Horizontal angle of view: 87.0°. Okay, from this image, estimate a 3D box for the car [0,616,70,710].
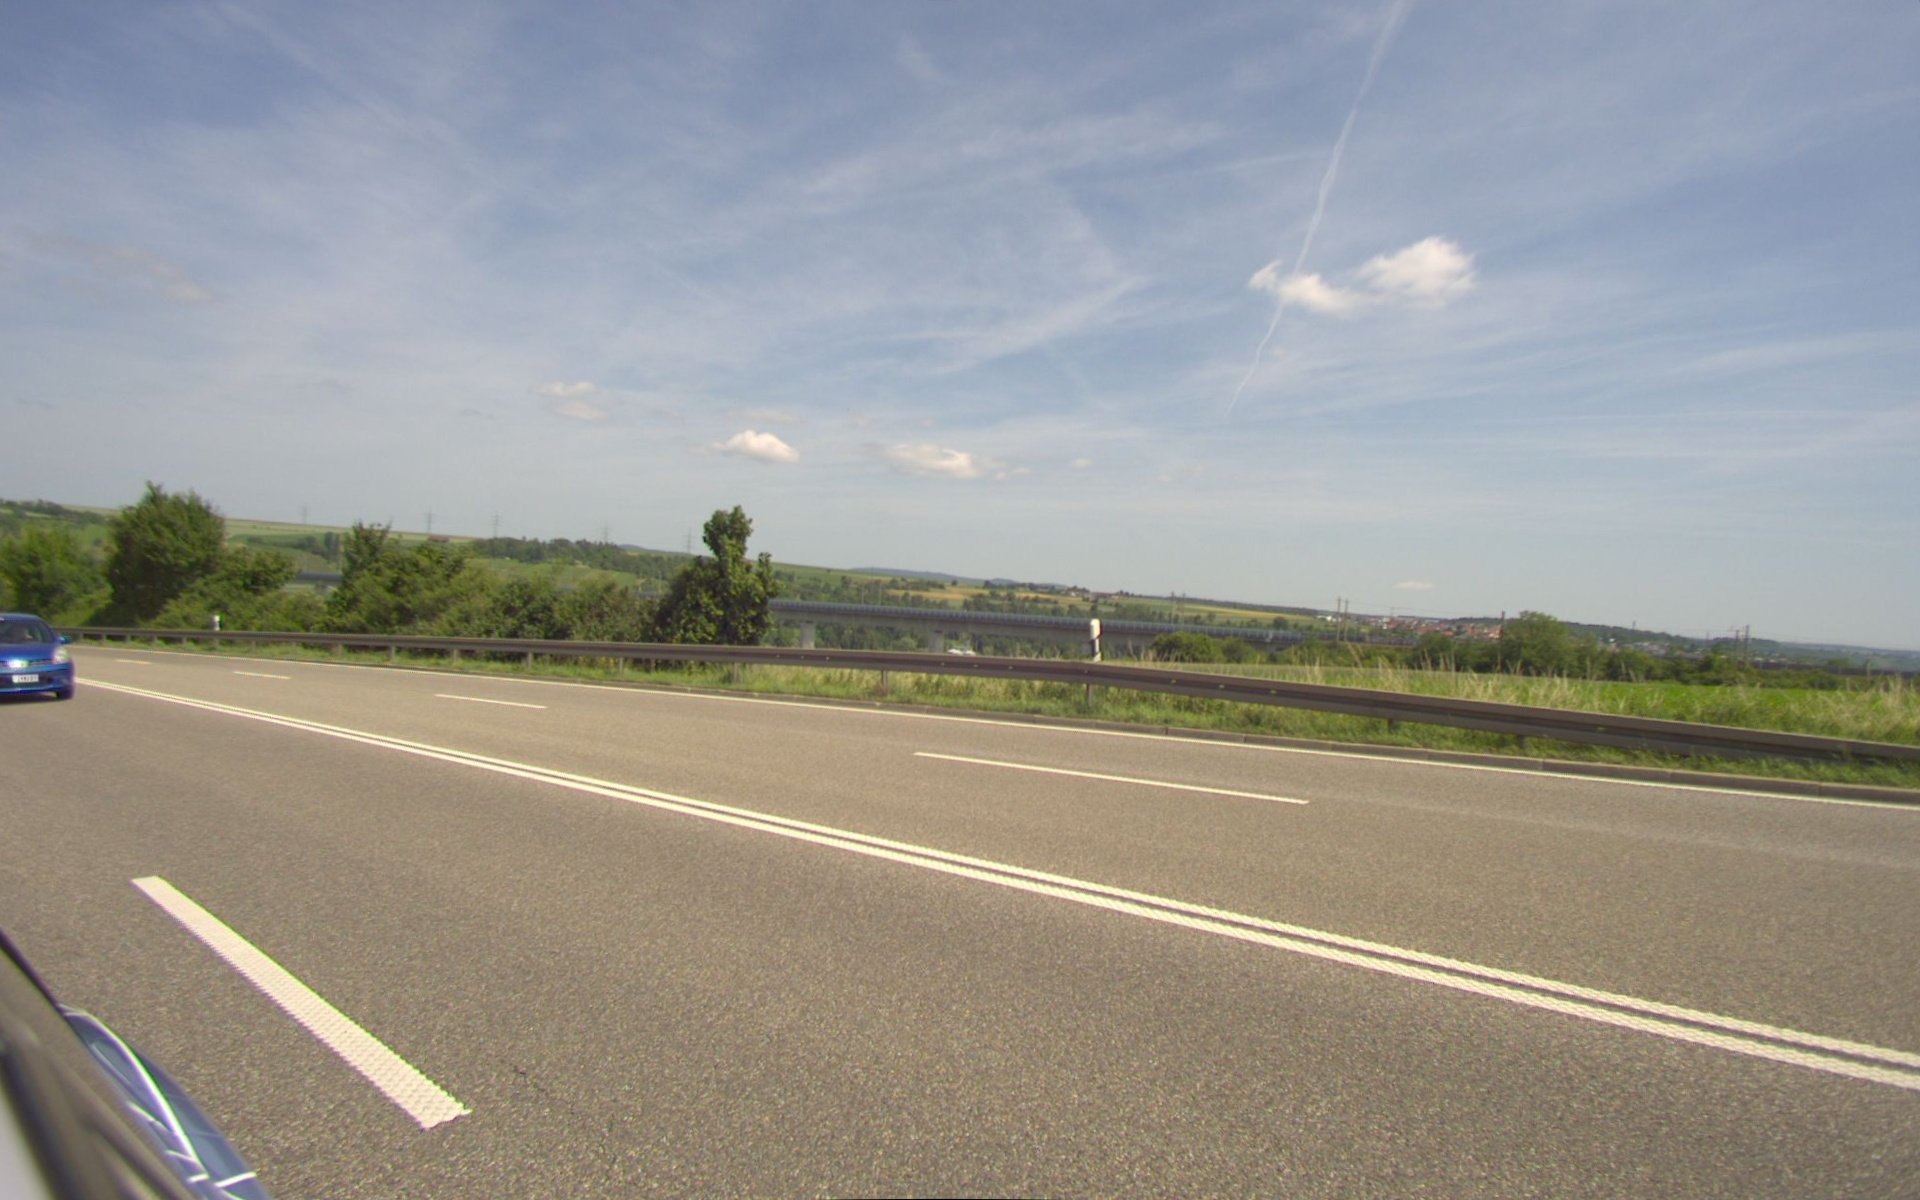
[{"bbox_3d":[-17.356,1.077,18.092,3.912,1.542,1.615,-1,-1,40],"label":"car"}]
